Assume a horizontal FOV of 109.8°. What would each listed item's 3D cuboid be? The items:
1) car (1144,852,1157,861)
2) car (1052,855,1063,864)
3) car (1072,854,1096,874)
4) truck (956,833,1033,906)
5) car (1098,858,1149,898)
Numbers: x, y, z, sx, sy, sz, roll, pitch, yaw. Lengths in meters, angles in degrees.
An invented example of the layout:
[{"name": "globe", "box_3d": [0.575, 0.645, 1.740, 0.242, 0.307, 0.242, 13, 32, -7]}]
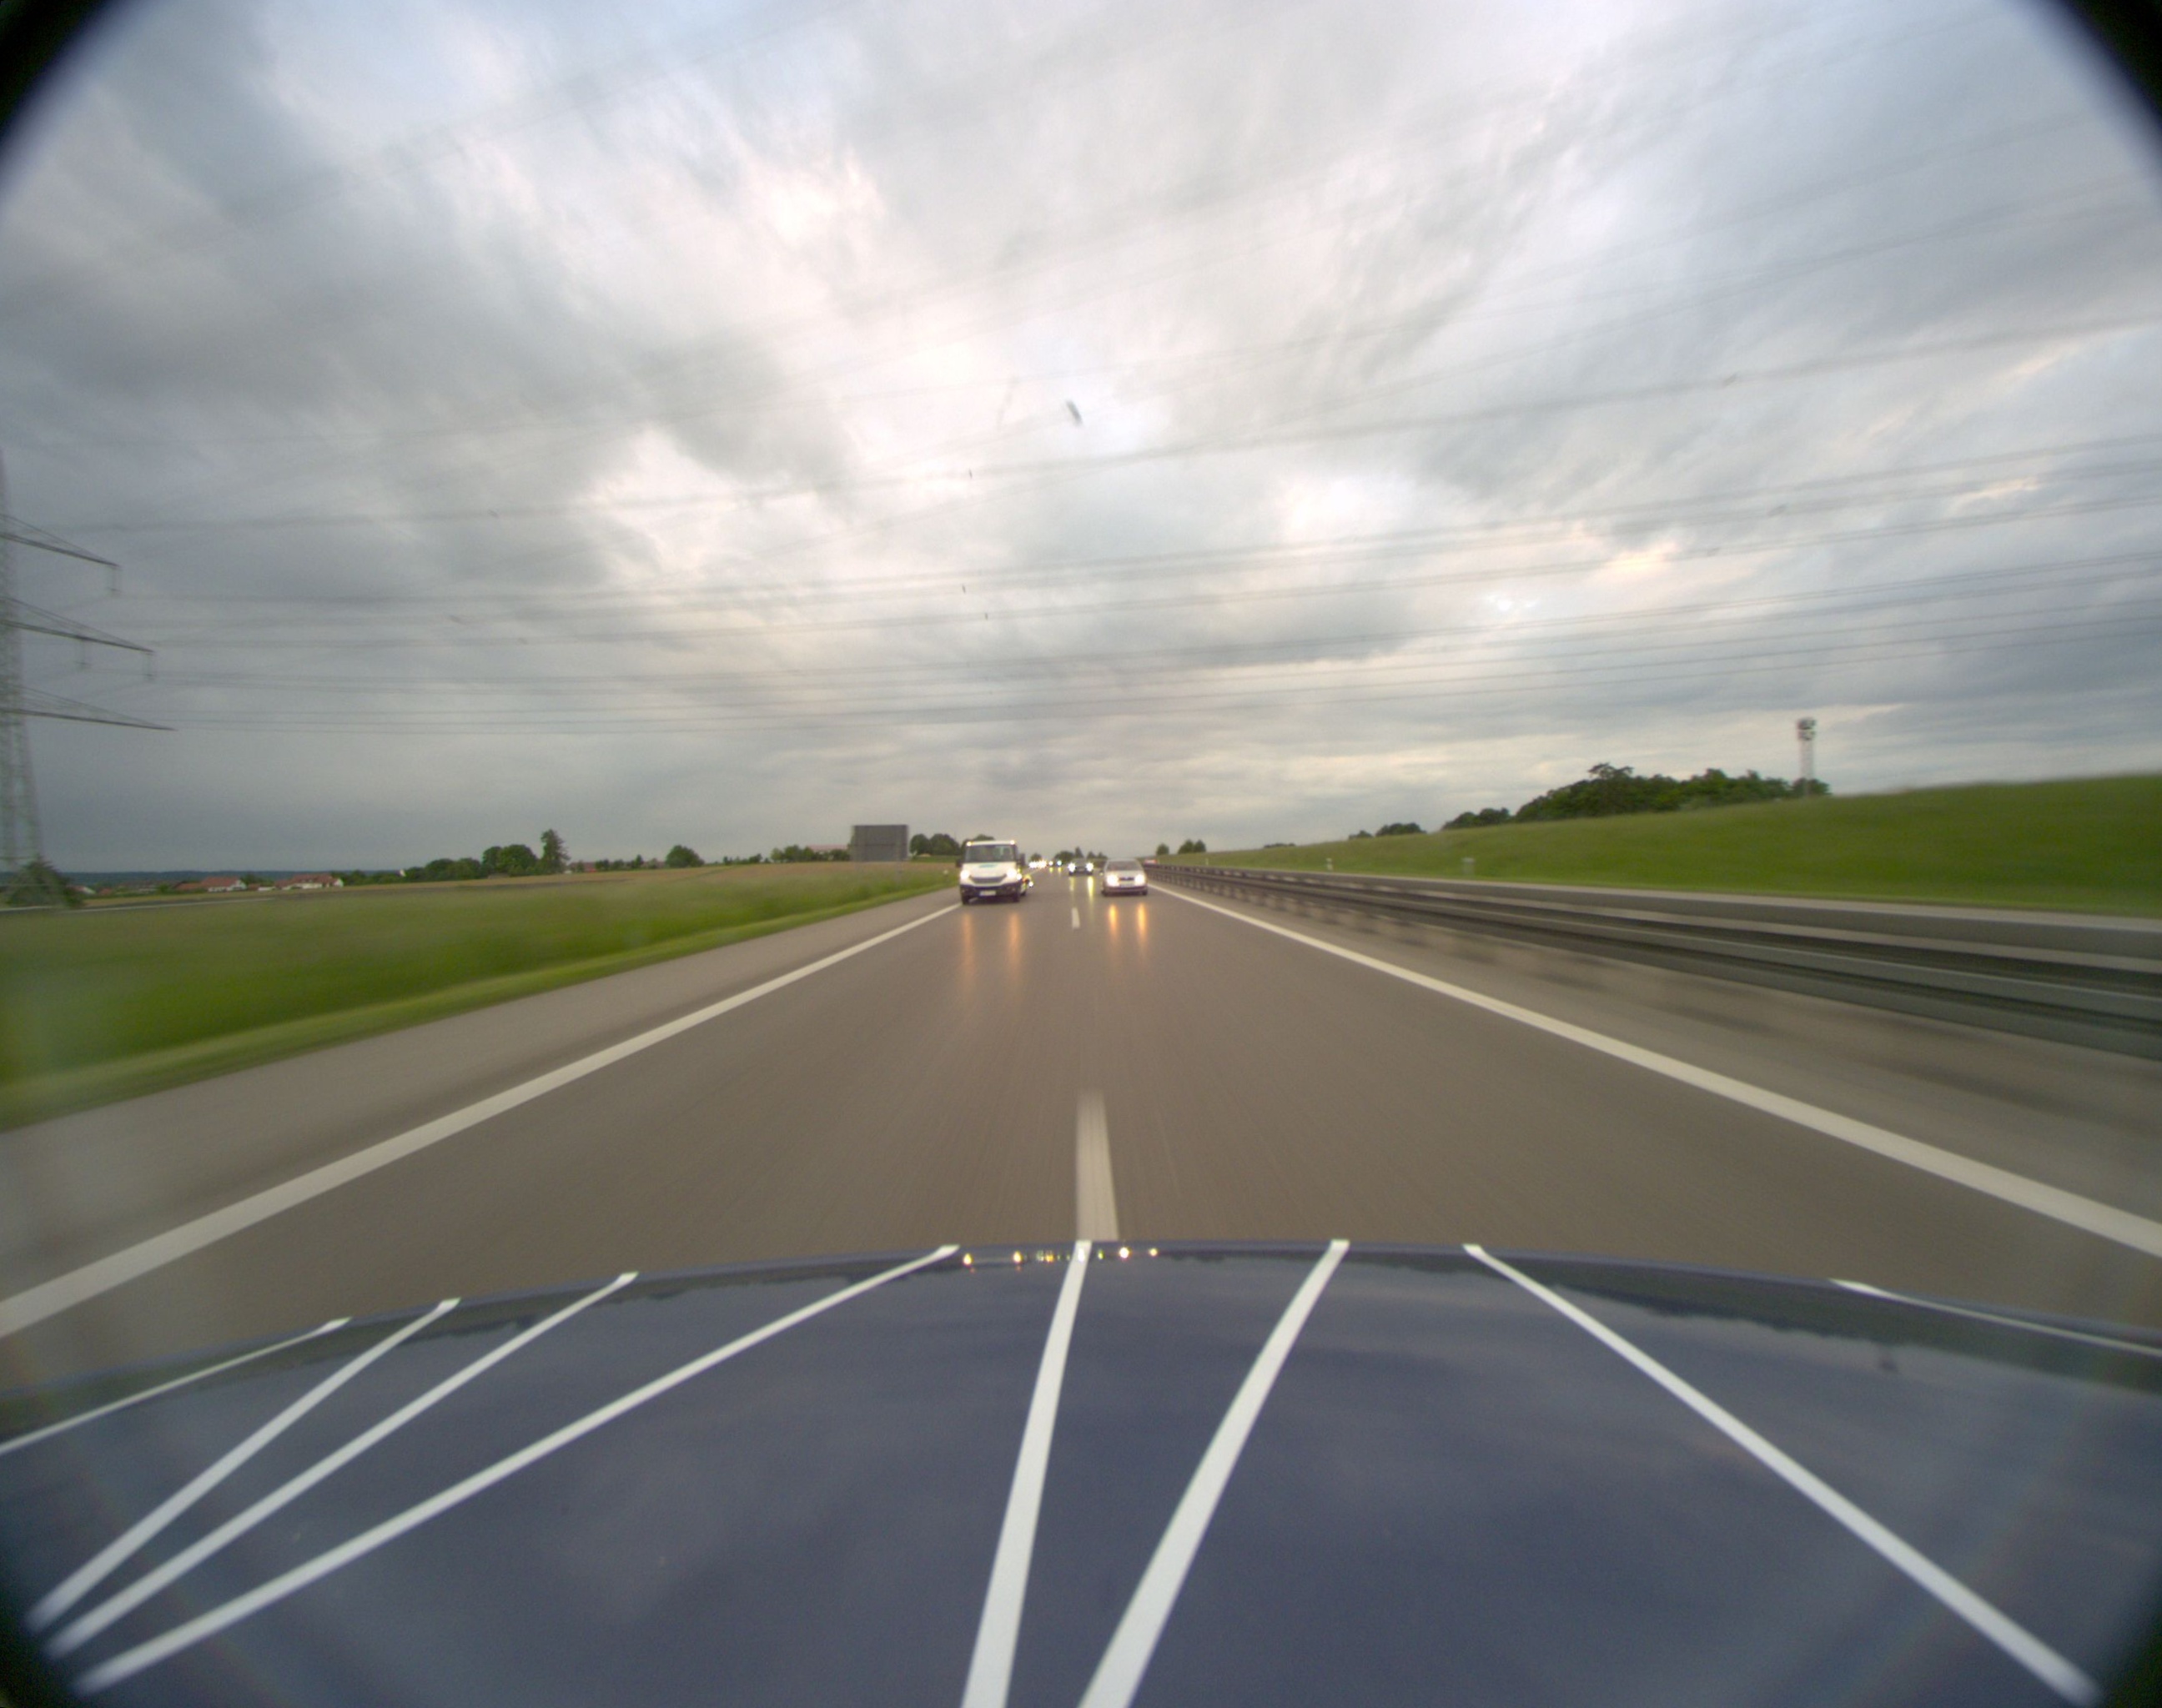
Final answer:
[{"name": "car", "box_3d": [12.260, 0.496, 133.727, 1.769, 1.473, 5.333, -3, 0, 0]}, {"name": "car", "box_3d": [-4.310, 0.921, 139.236, 1.808, 1.619, 3.901, -1, 0, -7]}, {"name": "car", "box_3d": [0.265, 0.813, 65.040, 1.951, 1.620, 4.535, -1, 0, 0]}, {"name": "truck", "box_3d": [-3.119, 0.522, 29.113, 2.177, 2.346, 7.695, -3, 0, -1]}, {"name": "car", "box_3d": [1.588, 0.873, 29.657, 1.592, 1.381, 4.600, 0, 1, -2]}]
